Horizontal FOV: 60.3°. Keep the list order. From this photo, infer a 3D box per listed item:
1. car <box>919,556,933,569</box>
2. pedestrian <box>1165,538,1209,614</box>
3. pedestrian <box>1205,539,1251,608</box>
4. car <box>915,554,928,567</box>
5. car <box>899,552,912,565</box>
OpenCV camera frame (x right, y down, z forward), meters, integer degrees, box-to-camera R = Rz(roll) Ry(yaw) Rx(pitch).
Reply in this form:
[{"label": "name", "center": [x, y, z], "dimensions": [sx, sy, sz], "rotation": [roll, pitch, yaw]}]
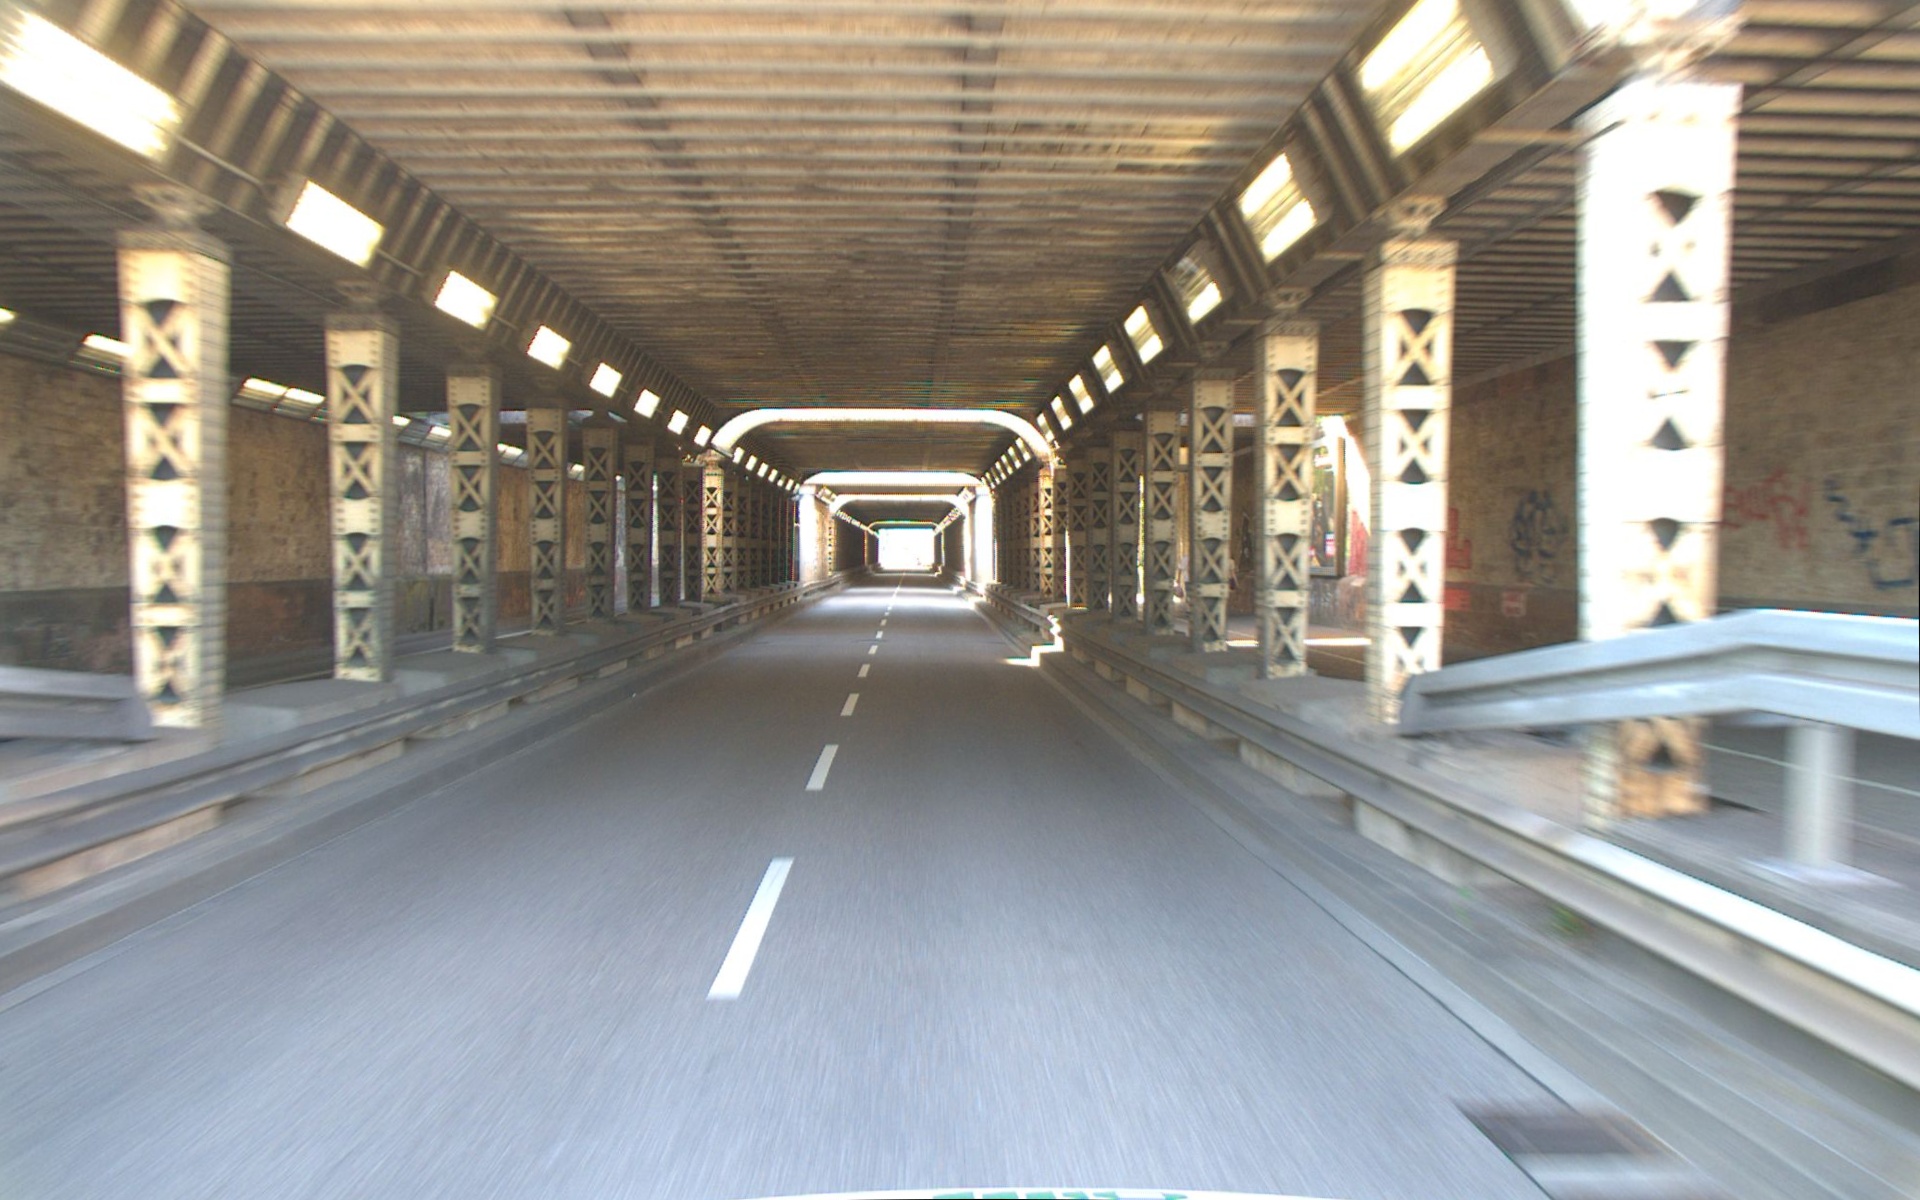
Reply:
[{"label": "car", "center": [-4.736, -5.199, 230.296], "dimensions": [1.953, 1.815, 3.999], "rotation": [0, 1, -2]}, {"label": "pedestrian", "center": [5.754, -0.611, 41.970], "dimensions": [0.863, 1.867, 0.922], "rotation": [-2, 2, -5]}, {"label": "pedestrian", "center": [6.692, -0.674, 41.375], "dimensions": [0.898, 1.684, 0.885], "rotation": [-2, 2, -5]}, {"label": "car", "center": [-5.560, -5.709, 239.400], "dimensions": [1.953, 1.815, 3.999], "rotation": [0, 1, -2]}, {"label": "car", "center": [-8.126, -6.170, 246.066], "dimensions": [1.953, 1.815, 3.999], "rotation": [0, 1, -2]}]
